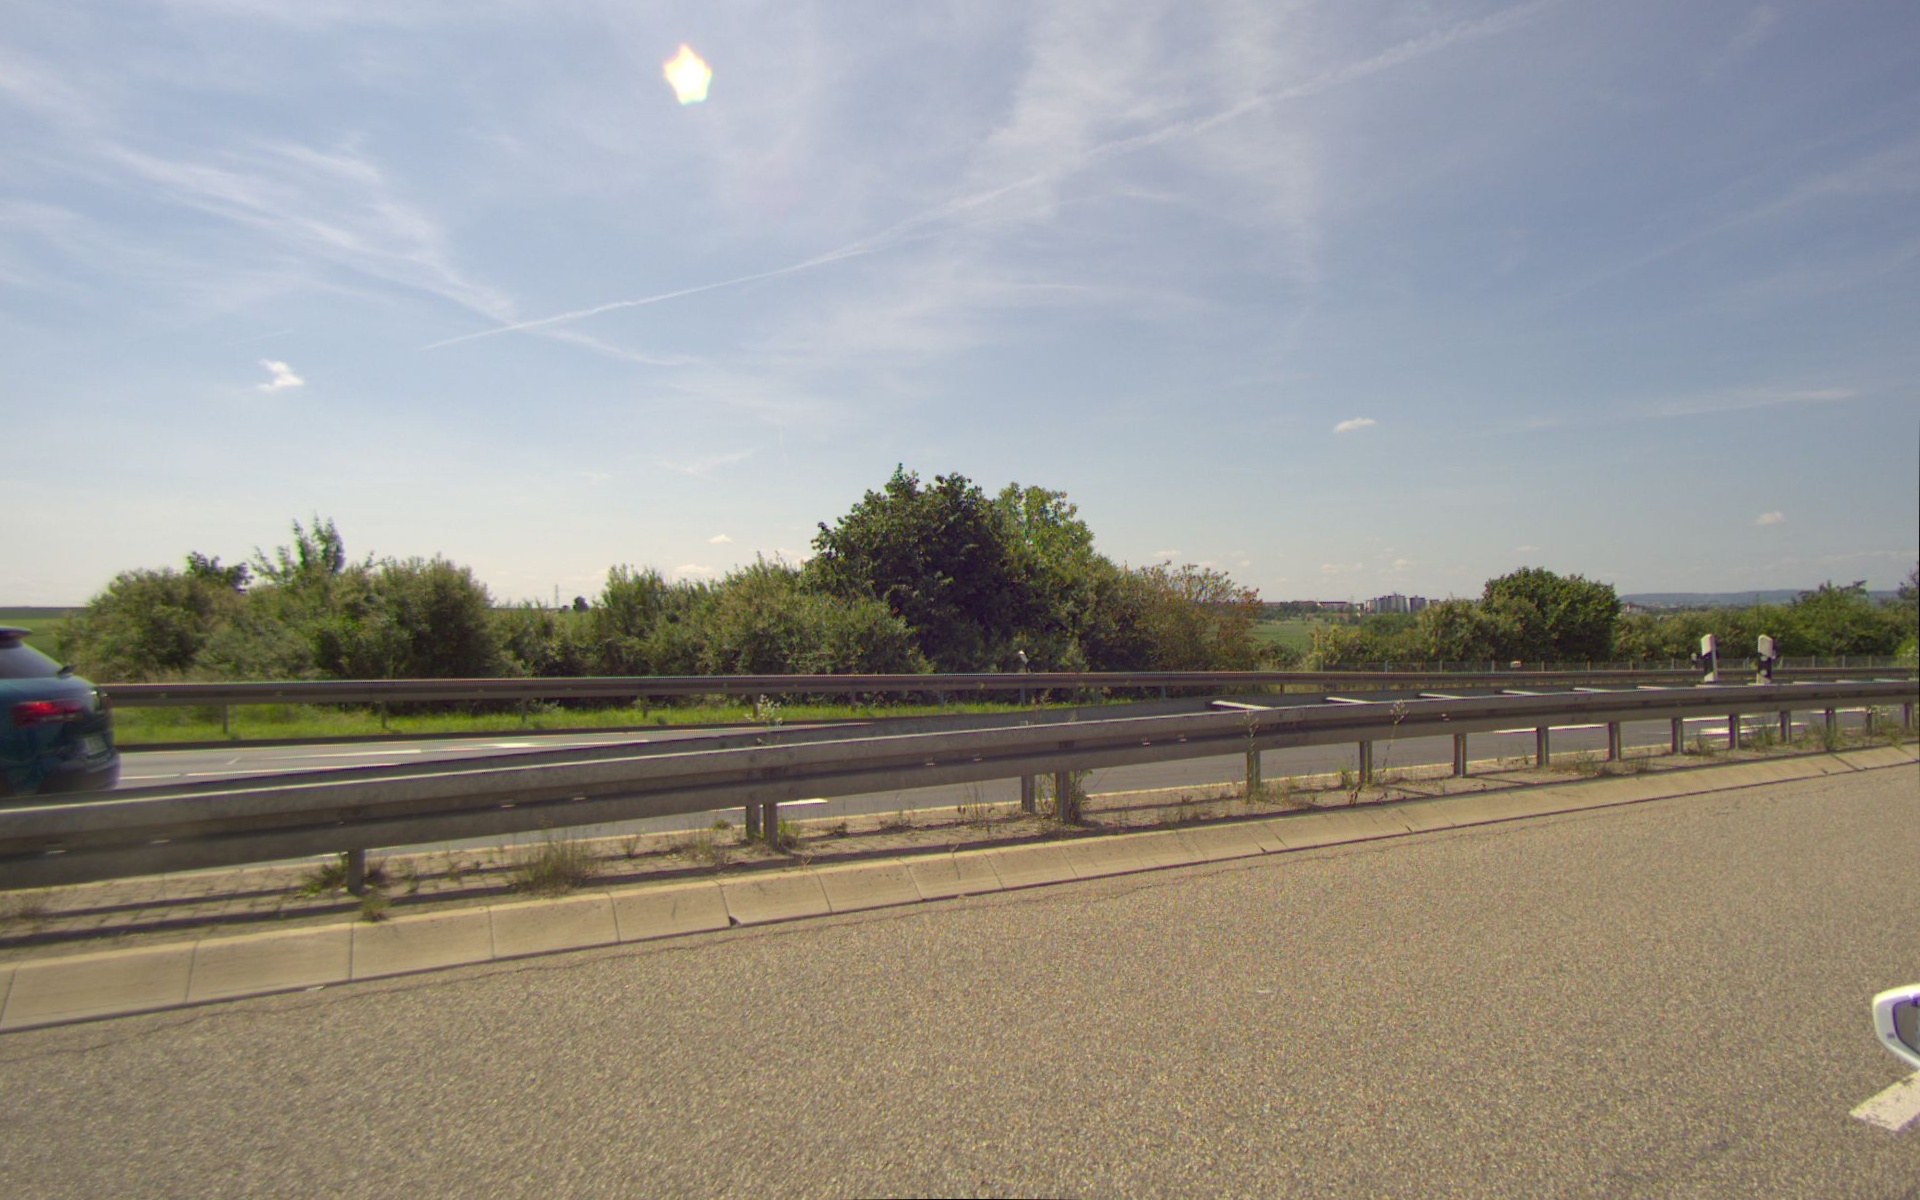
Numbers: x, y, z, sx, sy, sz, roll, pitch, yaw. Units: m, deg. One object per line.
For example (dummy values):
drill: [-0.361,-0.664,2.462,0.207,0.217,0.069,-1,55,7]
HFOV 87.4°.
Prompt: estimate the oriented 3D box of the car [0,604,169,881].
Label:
car: [-6.970,0.745,5.311,4.149,1.488,1.746,2,-2,-32]
